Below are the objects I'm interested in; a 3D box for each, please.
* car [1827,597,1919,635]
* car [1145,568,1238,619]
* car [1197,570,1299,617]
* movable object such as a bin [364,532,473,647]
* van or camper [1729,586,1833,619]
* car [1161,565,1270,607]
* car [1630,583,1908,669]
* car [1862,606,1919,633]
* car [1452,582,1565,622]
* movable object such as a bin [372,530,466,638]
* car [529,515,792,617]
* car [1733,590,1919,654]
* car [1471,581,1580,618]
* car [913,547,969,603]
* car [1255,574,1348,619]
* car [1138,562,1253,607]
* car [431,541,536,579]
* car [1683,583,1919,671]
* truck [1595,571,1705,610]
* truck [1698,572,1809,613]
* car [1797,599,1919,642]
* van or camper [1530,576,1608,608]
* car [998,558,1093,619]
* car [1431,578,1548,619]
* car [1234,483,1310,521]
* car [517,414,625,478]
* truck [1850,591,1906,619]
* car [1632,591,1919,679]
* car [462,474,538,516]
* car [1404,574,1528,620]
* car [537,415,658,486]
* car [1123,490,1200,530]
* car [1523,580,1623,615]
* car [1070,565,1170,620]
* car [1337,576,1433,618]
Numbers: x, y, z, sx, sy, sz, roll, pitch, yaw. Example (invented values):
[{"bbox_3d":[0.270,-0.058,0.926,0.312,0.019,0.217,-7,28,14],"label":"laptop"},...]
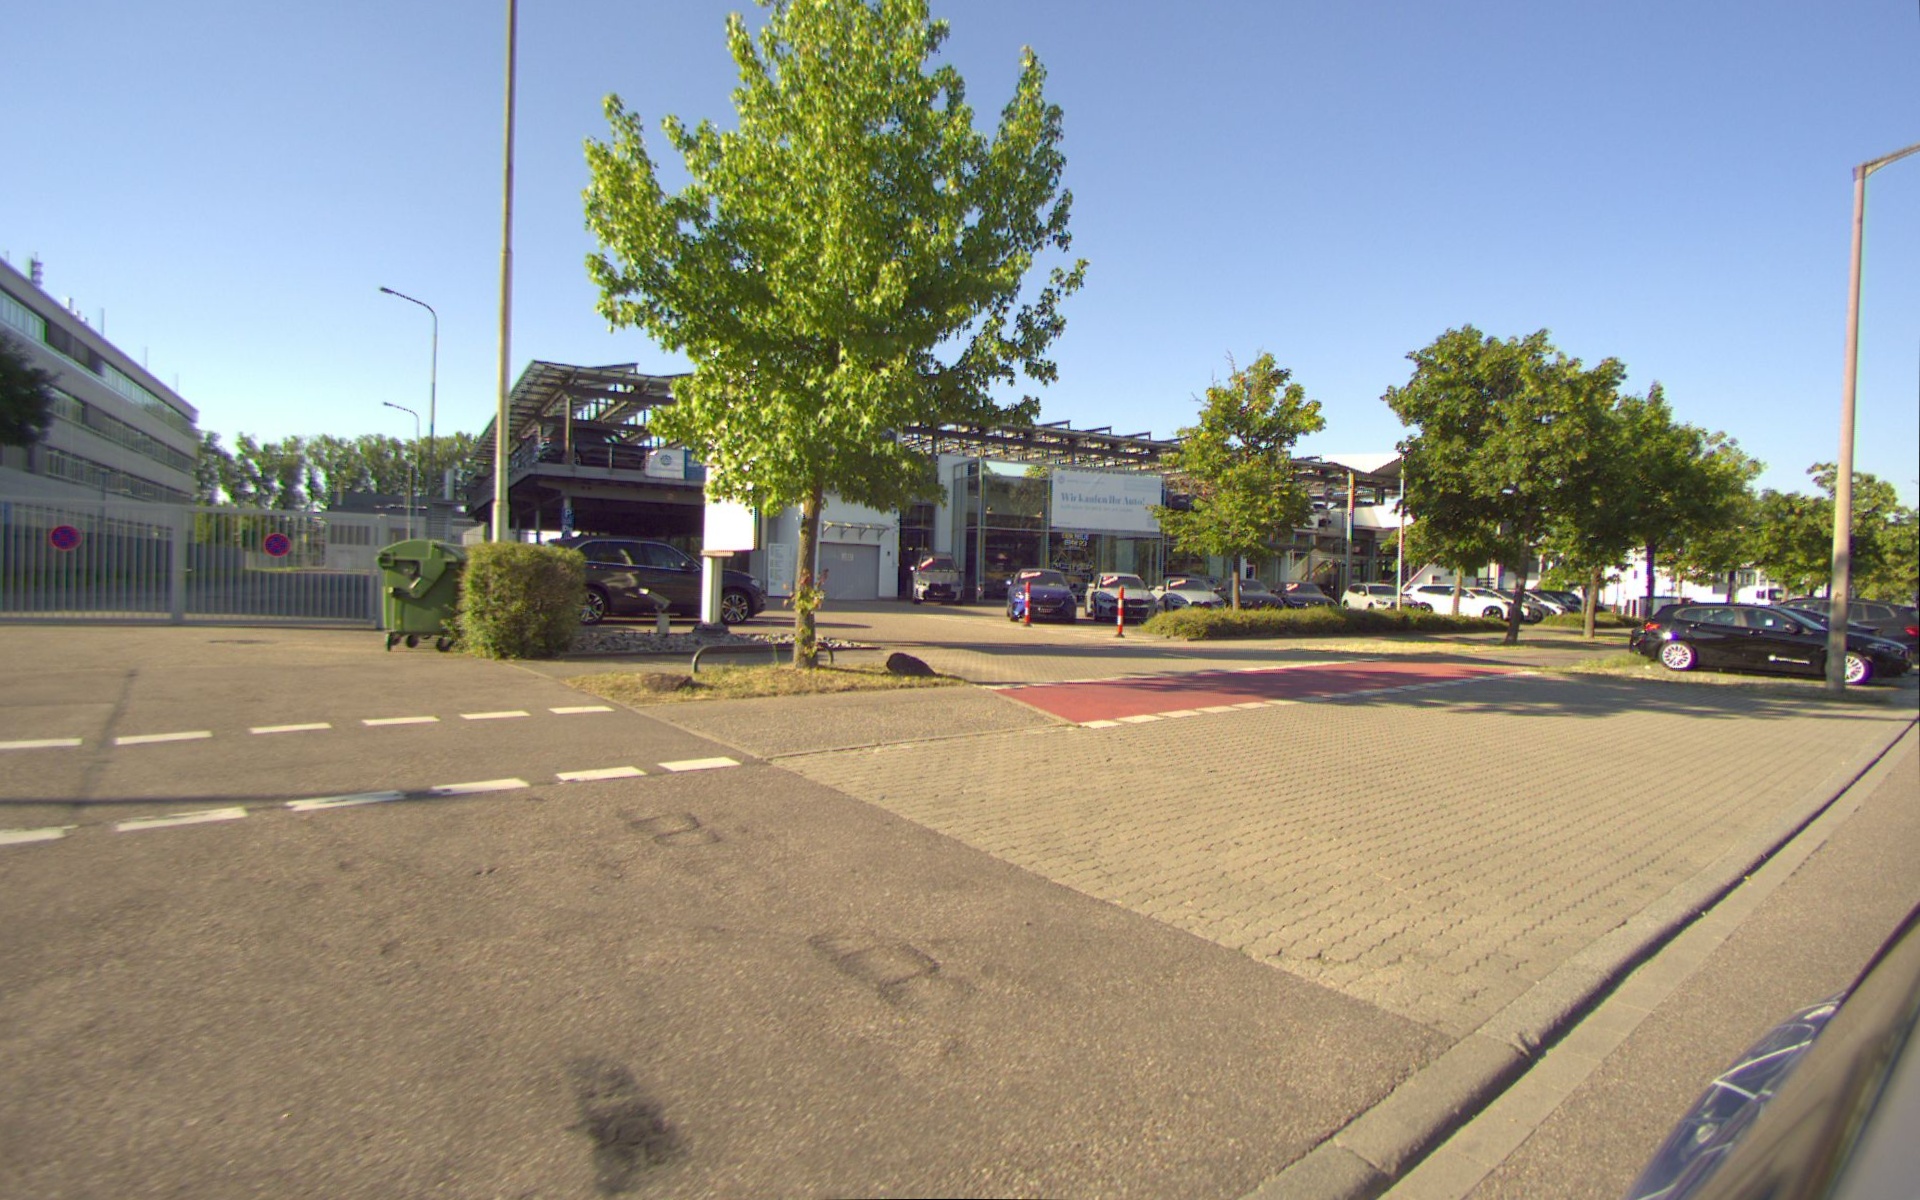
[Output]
[{"bbox_3d":[43.827,0.782,47.539,4.591,1.604,1.969,3,2,43],"label":"car"},{"bbox_3d":[7.507,-0.265,33.295,1.962,1.481,4.790,2,2,1],"label":"car"},{"bbox_3d":[10.124,-0.287,35.973,1.961,1.481,4.794,2,2,-3],"label":"car"},{"bbox_3d":[-7.107,-0.127,13.339,1.016,1.434,0.850,2,-1,-11],"label":"movable object such as a bin"},{"bbox_3d":[83.349,0.165,102.952,2.881,2.935,8.030,2,2,-13],"label":"van or camper"},{"bbox_3d":[12.407,-0.712,49.158,4.751,1.795,1.979,3,2,30],"label":"car"},{"bbox_3d":[17.610,0.493,22.195,1.999,1.570,4.488,1,2,-42],"label":"car"},{"bbox_3d":[57.814,1.230,61.589,4.201,1.461,2.055,6,3,44],"label":"car"},{"bbox_3d":[27.042,0.070,50.072,4.548,1.593,1.988,4,2,20],"label":"car"},{"bbox_3d":[-7.955,-0.240,14.875,1.018,1.502,1.214,1,1,-37],"label":"movable object such as a bin"},{"bbox_3d":[-6.172,-0.658,20.987,4.874,1.850,2.041,2,1,-28],"label":"car"},{"bbox_3d":[25.817,0.605,29.672,1.967,1.497,4.701,1,3,-44],"label":"car"},{"bbox_3d":[29.236,-0.069,52.462,4.548,1.593,1.988,4,2,20],"label":"car"},{"bbox_3d":[-0.804,-1.017,39.999,1.961,2.038,4.187,2,2,-3],"label":"car"},{"bbox_3d":[12.937,-0.187,38.674,1.963,1.481,4.789,2,2,1],"label":"car"},{"bbox_3d":[10.781,-0.726,46.472,4.751,1.795,1.979,3,2,30],"label":"car"},{"bbox_3d":[-23.843,-2.001,50.675,4.471,1.694,2.040,1,1,-33],"label":"car"},{"bbox_3d":[20.395,0.575,24.116,2.152,1.772,4.706,1,1,-39],"label":"car"},{"bbox_3d":[72.110,-1.044,106.139,3.227,3.689,10.139,2,2,-9],"label":"truck"},{"bbox_3d":[74.476,-0.798,95.264,3.051,3.565,8.268,2,2,-8],"label":"truck"},{"bbox_3d":[38.315,0.867,42.491,1.967,1.474,4.631,1,3,-44],"label":"car"},{"bbox_3d":[70.596,-0.970,117.589,2.363,3.370,8.158,2,2,-17],"label":"van or camper"},{"bbox_3d":[2.313,-0.379,28.551,1.961,1.481,4.794,2,2,-3],"label":"car"},{"bbox_3d":[25.105,-0.108,48.165,4.548,1.593,1.988,4,2,20],"label":"car"},{"bbox_3d":[17.611,-5.515,57.314,1.751,1.688,4.003,2,-1,-30],"label":"car"},{"bbox_3d":[-17.161,-6.720,44.675,4.118,2.128,2.001,2,-1,-32],"label":"car"},{"bbox_3d":[100.301,0.528,110.597,5.849,2.753,2.551,2,1,-28],"label":"truck"},{"bbox_3d":[16.340,0.618,20.260,2.000,1.421,4.486,1,2,-44],"label":"car"},{"bbox_3d":[-29.366,-6.666,64.608,4.118,2.128,2.001,2,-1,-32],"label":"car"},{"bbox_3d":[22.964,-0.172,46.205,4.671,1.711,2.396,4,2,20],"label":"car"},{"bbox_3d":[-14.197,-5.803,39.689,4.118,2.128,2.001,2,-1,-32],"label":"car"},{"bbox_3d":[10.521,-4.666,53.108,1.751,1.688,4.003,2,-1,-31],"label":"car"},{"bbox_3d":[35.746,-0.166,59.142,4.550,1.686,1.987,4,2,20],"label":"car"},{"bbox_3d":[4.791,-0.281,31.014,2.006,1.481,4.794,2,2,-3],"label":"car"},{"bbox_3d":[18.260,-0.170,43.764,1.963,1.590,5.191,2,2,1],"label":"car"}]
